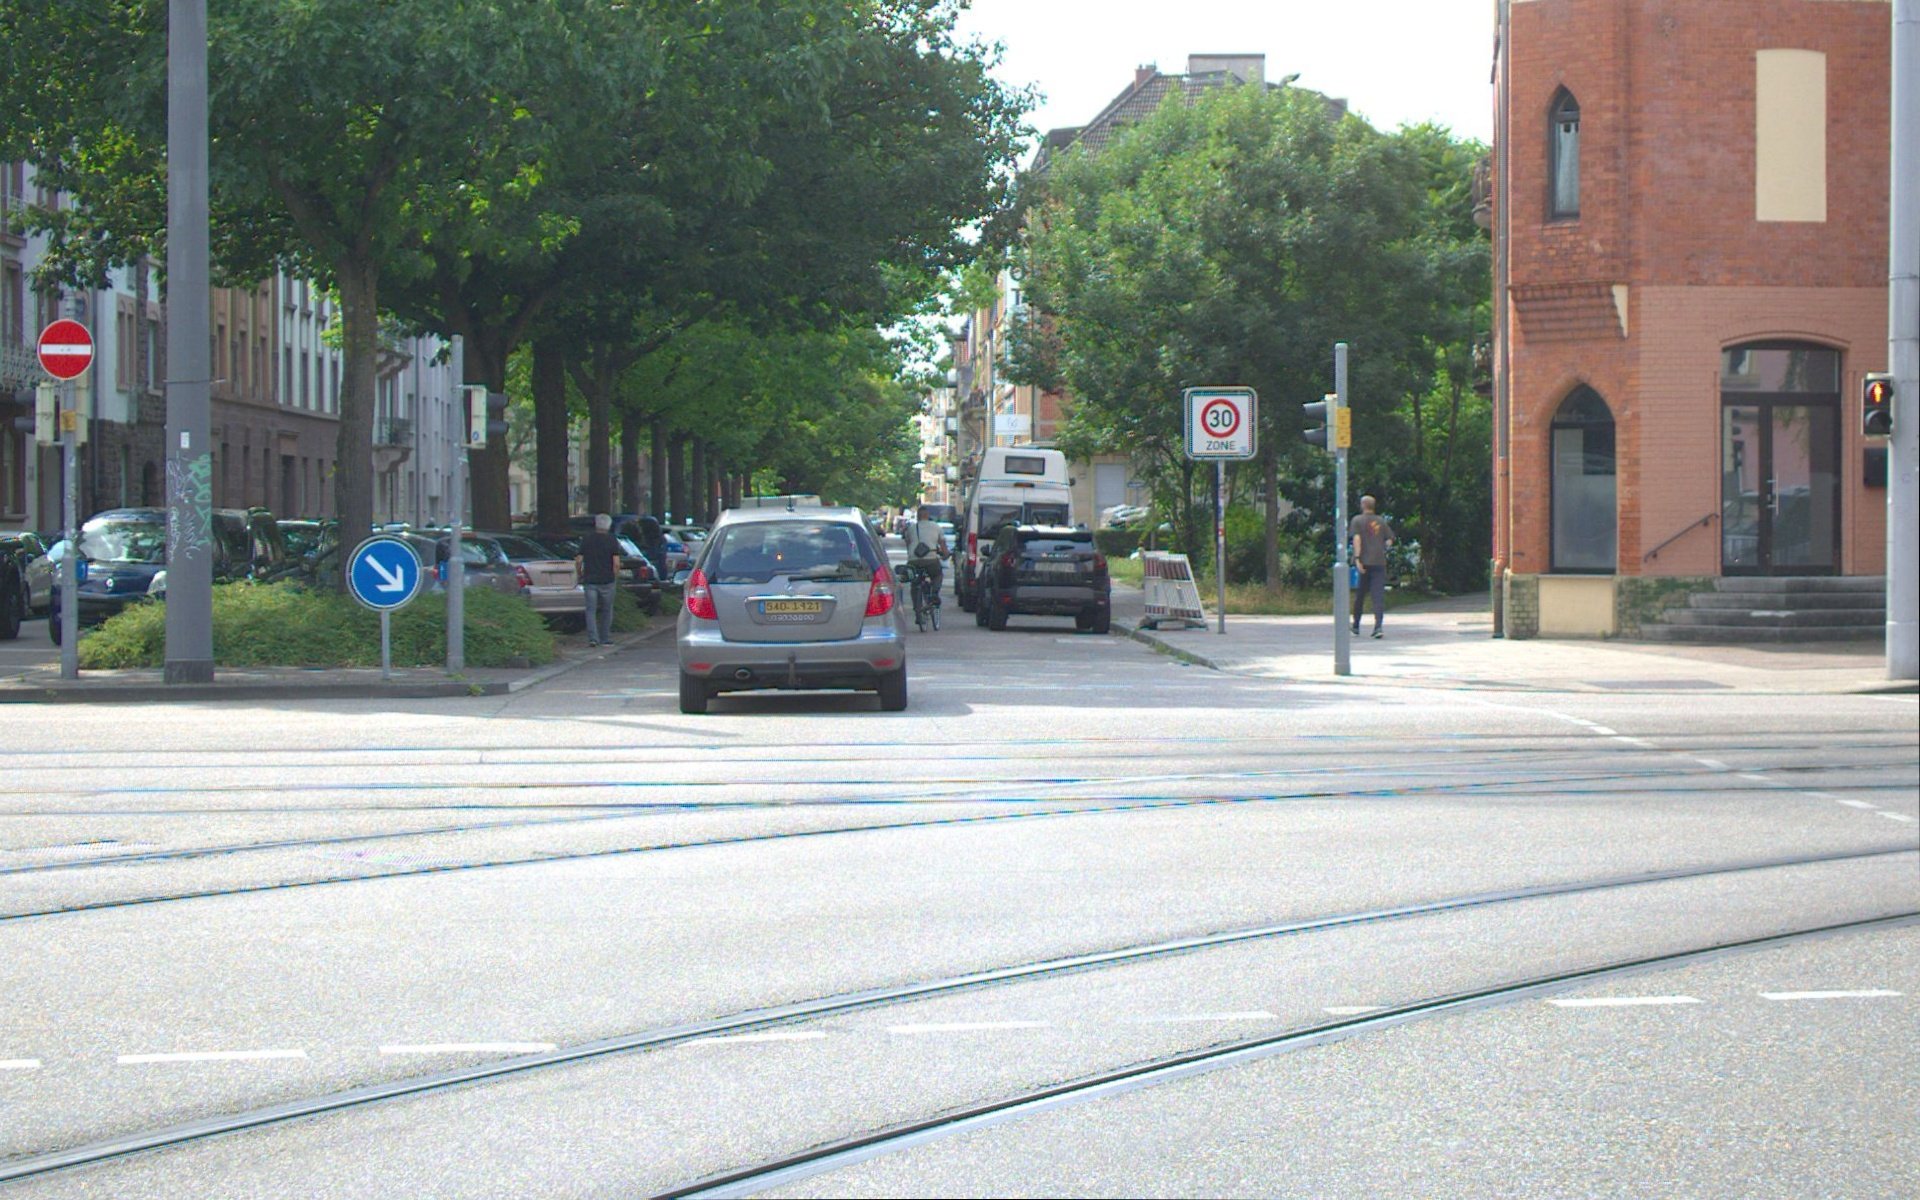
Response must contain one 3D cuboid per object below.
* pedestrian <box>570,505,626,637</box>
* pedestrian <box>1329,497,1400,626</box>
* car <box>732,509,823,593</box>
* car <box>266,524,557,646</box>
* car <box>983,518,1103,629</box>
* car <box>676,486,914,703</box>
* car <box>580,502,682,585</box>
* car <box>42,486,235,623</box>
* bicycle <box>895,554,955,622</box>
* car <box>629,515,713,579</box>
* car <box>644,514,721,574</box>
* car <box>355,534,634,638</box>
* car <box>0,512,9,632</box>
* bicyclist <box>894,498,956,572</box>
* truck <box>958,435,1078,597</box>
[{"bbox_3d":[-4.732,-0.383,44.944,0.652,1.719,0.494,0,1,3],"label":"pedestrian"},{"bbox_3d":[5.210,-0.506,44.326,0.869,1.651,0.736,0,1,4],"label":"pedestrian"},{"bbox_3d":[-3.819,-1.053,72.514,1.722,1.700,3.677,-1,1,0],"label":"car"},{"bbox_3d":[-7.170,-0.233,44.700,1.969,1.489,3.999,-1,2,-40],"label":"car"},{"bbox_3d":[1.295,-0.431,52.659,1.752,1.627,3.499,0,1,3],"label":"car"},{"bbox_3d":[-1.260,-0.082,27.534,1.722,1.600,3.677,-1,1,0],"label":"car"},{"bbox_3d":[-6.578,-1.154,69.004,1.752,1.627,3.500,0,1,-1],"label":"car"},{"bbox_3d":[-10.937,-0.628,46.000,1.993,1.722,4.001,-1,1,-6],"label":"car"},{"bbox_3d":[-0.508,-0.192,50.785,0.749,0.955,2.299,-1,1,3],"label":"bicycle"},{"bbox_3d":[-6.930,-1.285,82.674,1.752,1.512,3.500,0,1,-1],"label":"car"},{"bbox_3d":[-7.220,-1.477,89.694,1.752,1.512,3.500,0,1,-1],"label":"car"},{"bbox_3d":[-6.444,-0.226,47.325,1.969,1.334,3.999,-1,2,-40],"label":"car"},{"bbox_3d":[-13.657,-0.331,44.409,1.993,1.612,4.001,-1,1,-6],"label":"car"},{"bbox_3d":[-0.514,-0.966,50.891,0.836,1.078,1.400,-1,1,3],"label":"bicyclist"},{"bbox_3d":[1.144,-1.598,65.494,2.123,2.960,4.000,-1,1,3],"label":"truck"}]
